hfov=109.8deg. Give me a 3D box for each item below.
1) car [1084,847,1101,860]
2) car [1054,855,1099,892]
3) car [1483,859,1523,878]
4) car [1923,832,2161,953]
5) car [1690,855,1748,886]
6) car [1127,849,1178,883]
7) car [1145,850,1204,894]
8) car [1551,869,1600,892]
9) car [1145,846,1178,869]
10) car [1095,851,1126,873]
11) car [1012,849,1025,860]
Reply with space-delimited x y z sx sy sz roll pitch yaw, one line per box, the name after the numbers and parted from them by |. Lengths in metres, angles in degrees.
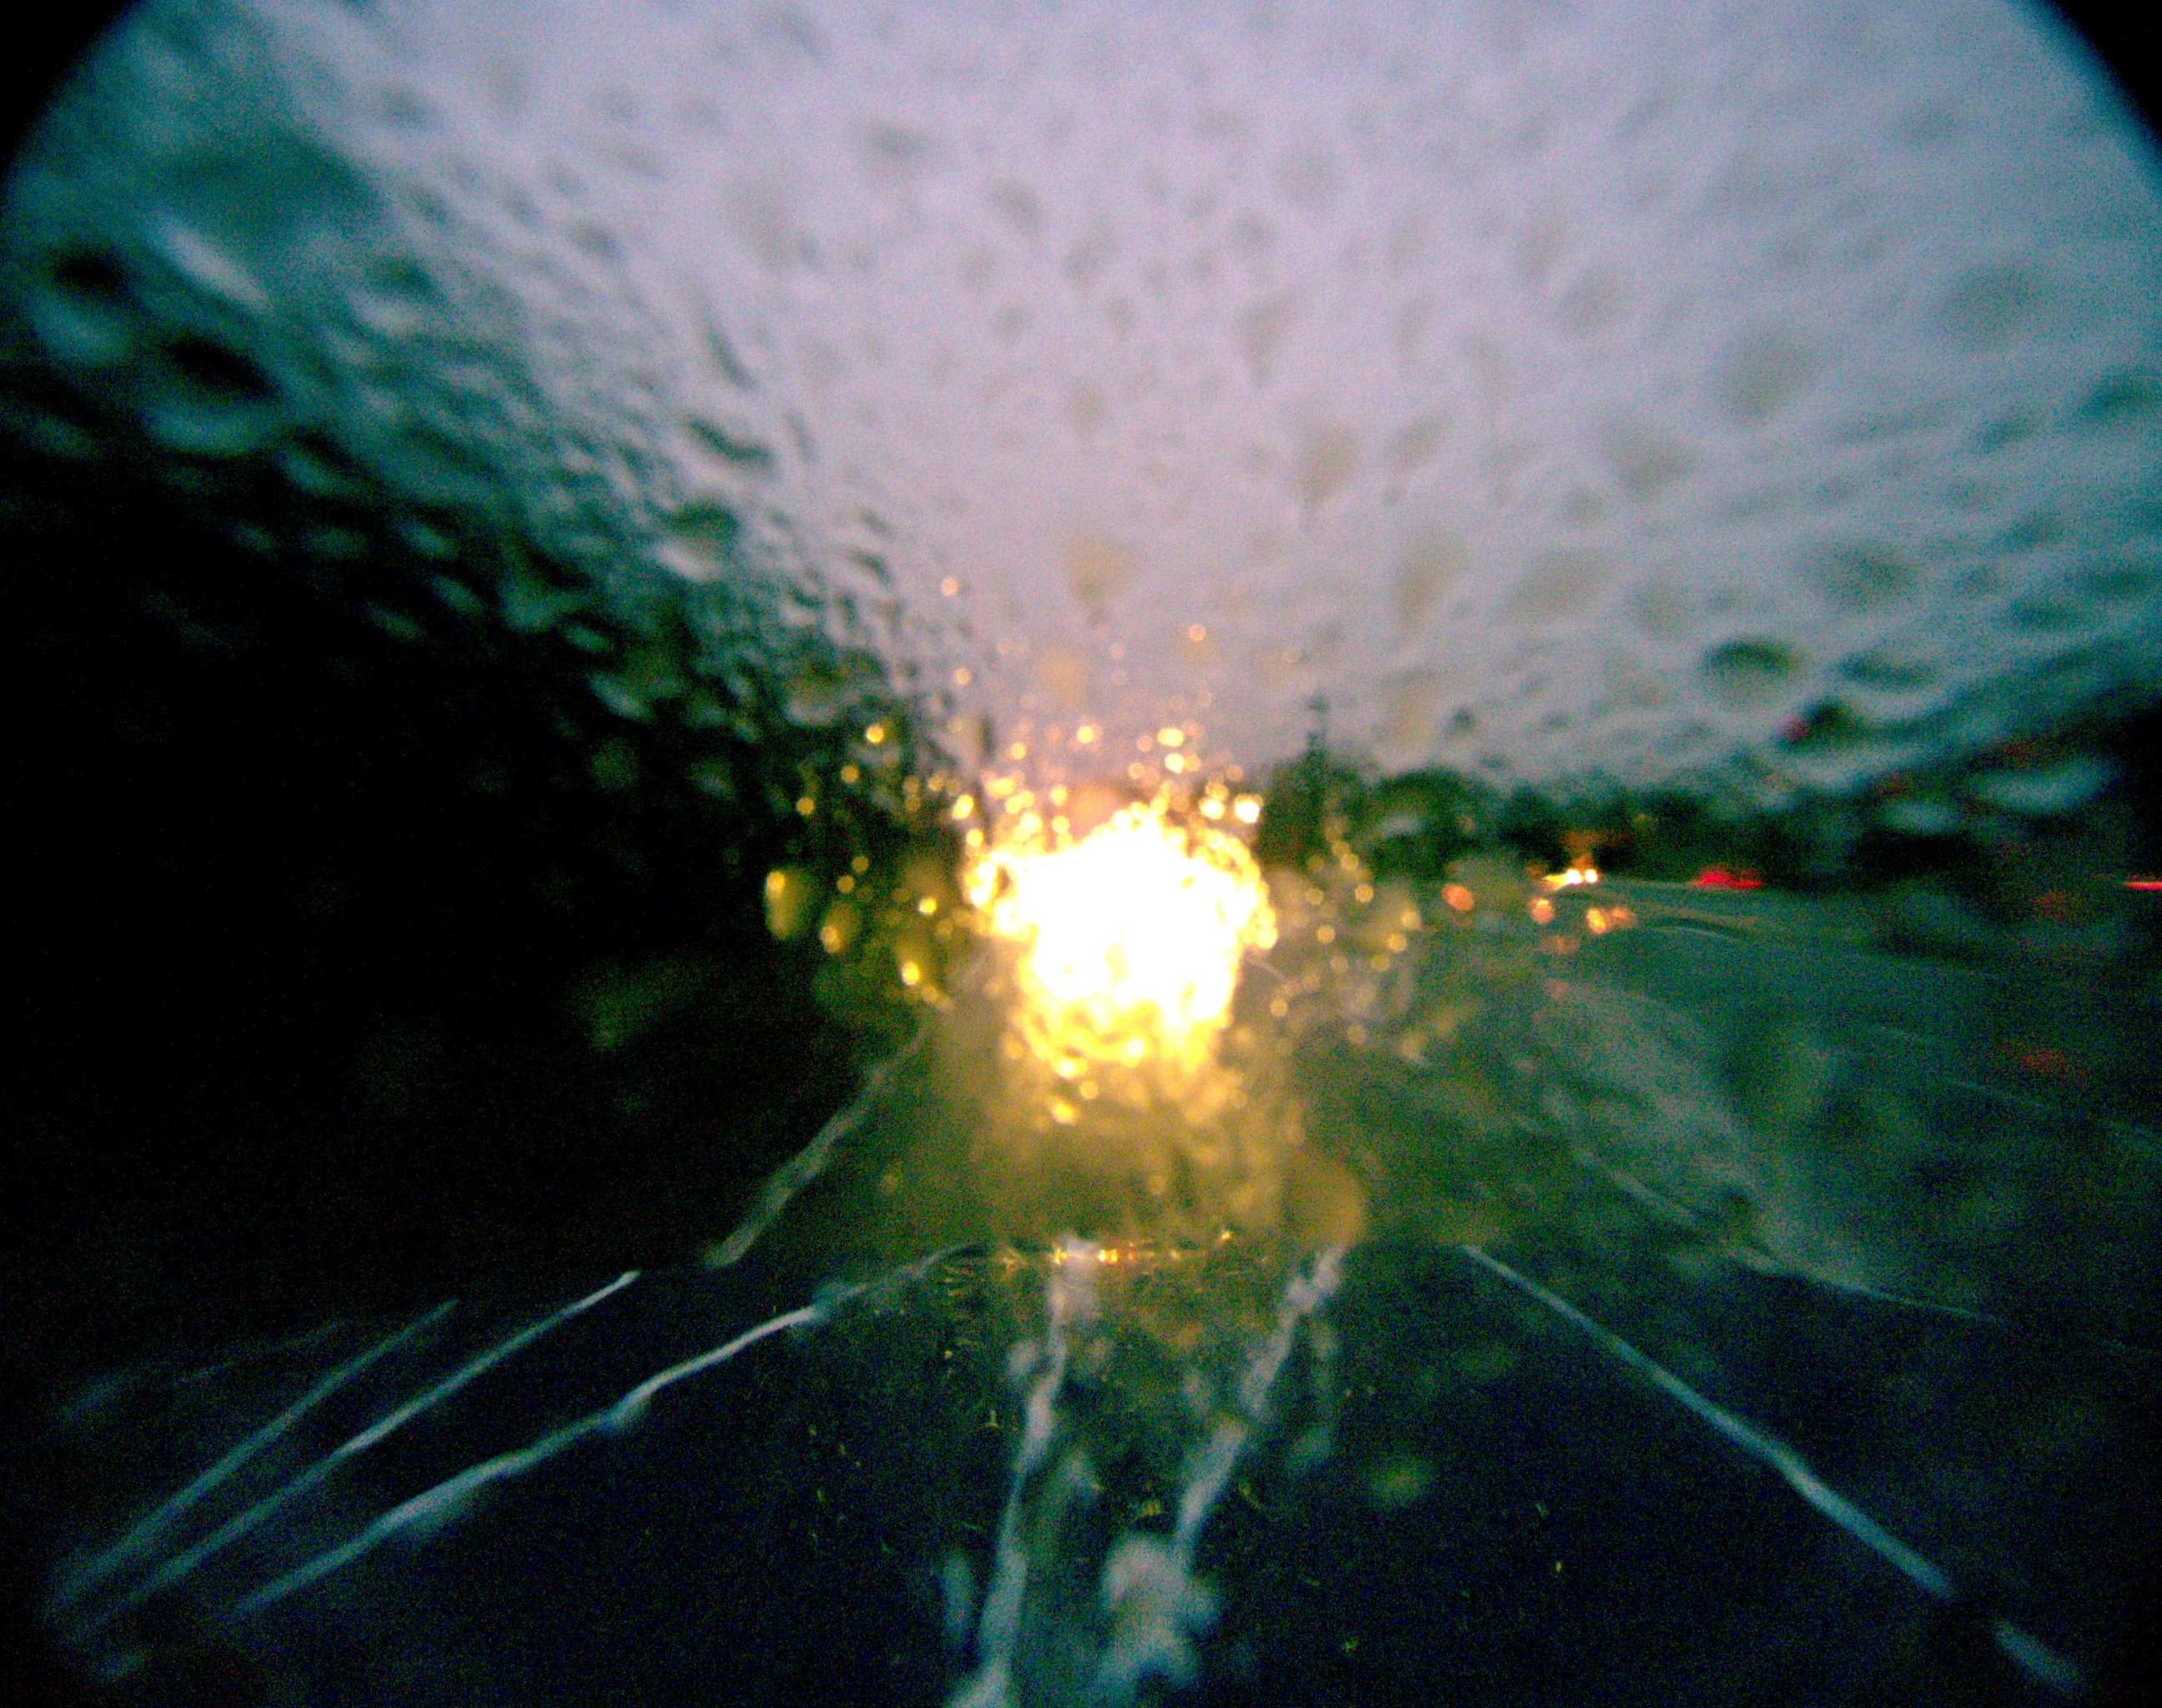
1.426 -0.109 98.076 1.650 1.547 4.378 -1 1 -5 | car
-0.220 0.812 33.867 1.850 1.429 4.243 -1 1 -1 | car
46.320 1.543 83.525 1.955 1.746 4.811 -3 1 4 | car
18.636 0.617 14.747 1.839 1.958 4.365 -2 1 31 | car
43.466 1.101 51.872 1.952 1.746 4.818 -3 1 27 | car
3.625 0.585 39.490 2.010 1.547 4.515 -2 1 -2 | car
3.742 0.674 30.941 1.717 1.617 4.216 -2 1 -2 | car
44.758 2.359 68.903 1.954 1.746 4.813 -3 1 11 | car
6.036 0.247 57.271 1.828 1.607 4.572 -2 1 -2 | car
2.163 0.583 56.413 1.637 1.413 4.168 -3 1 -7 | car
-10.960 0.126 133.272 1.703 1.721 3.995 -2 2 -10 | car
